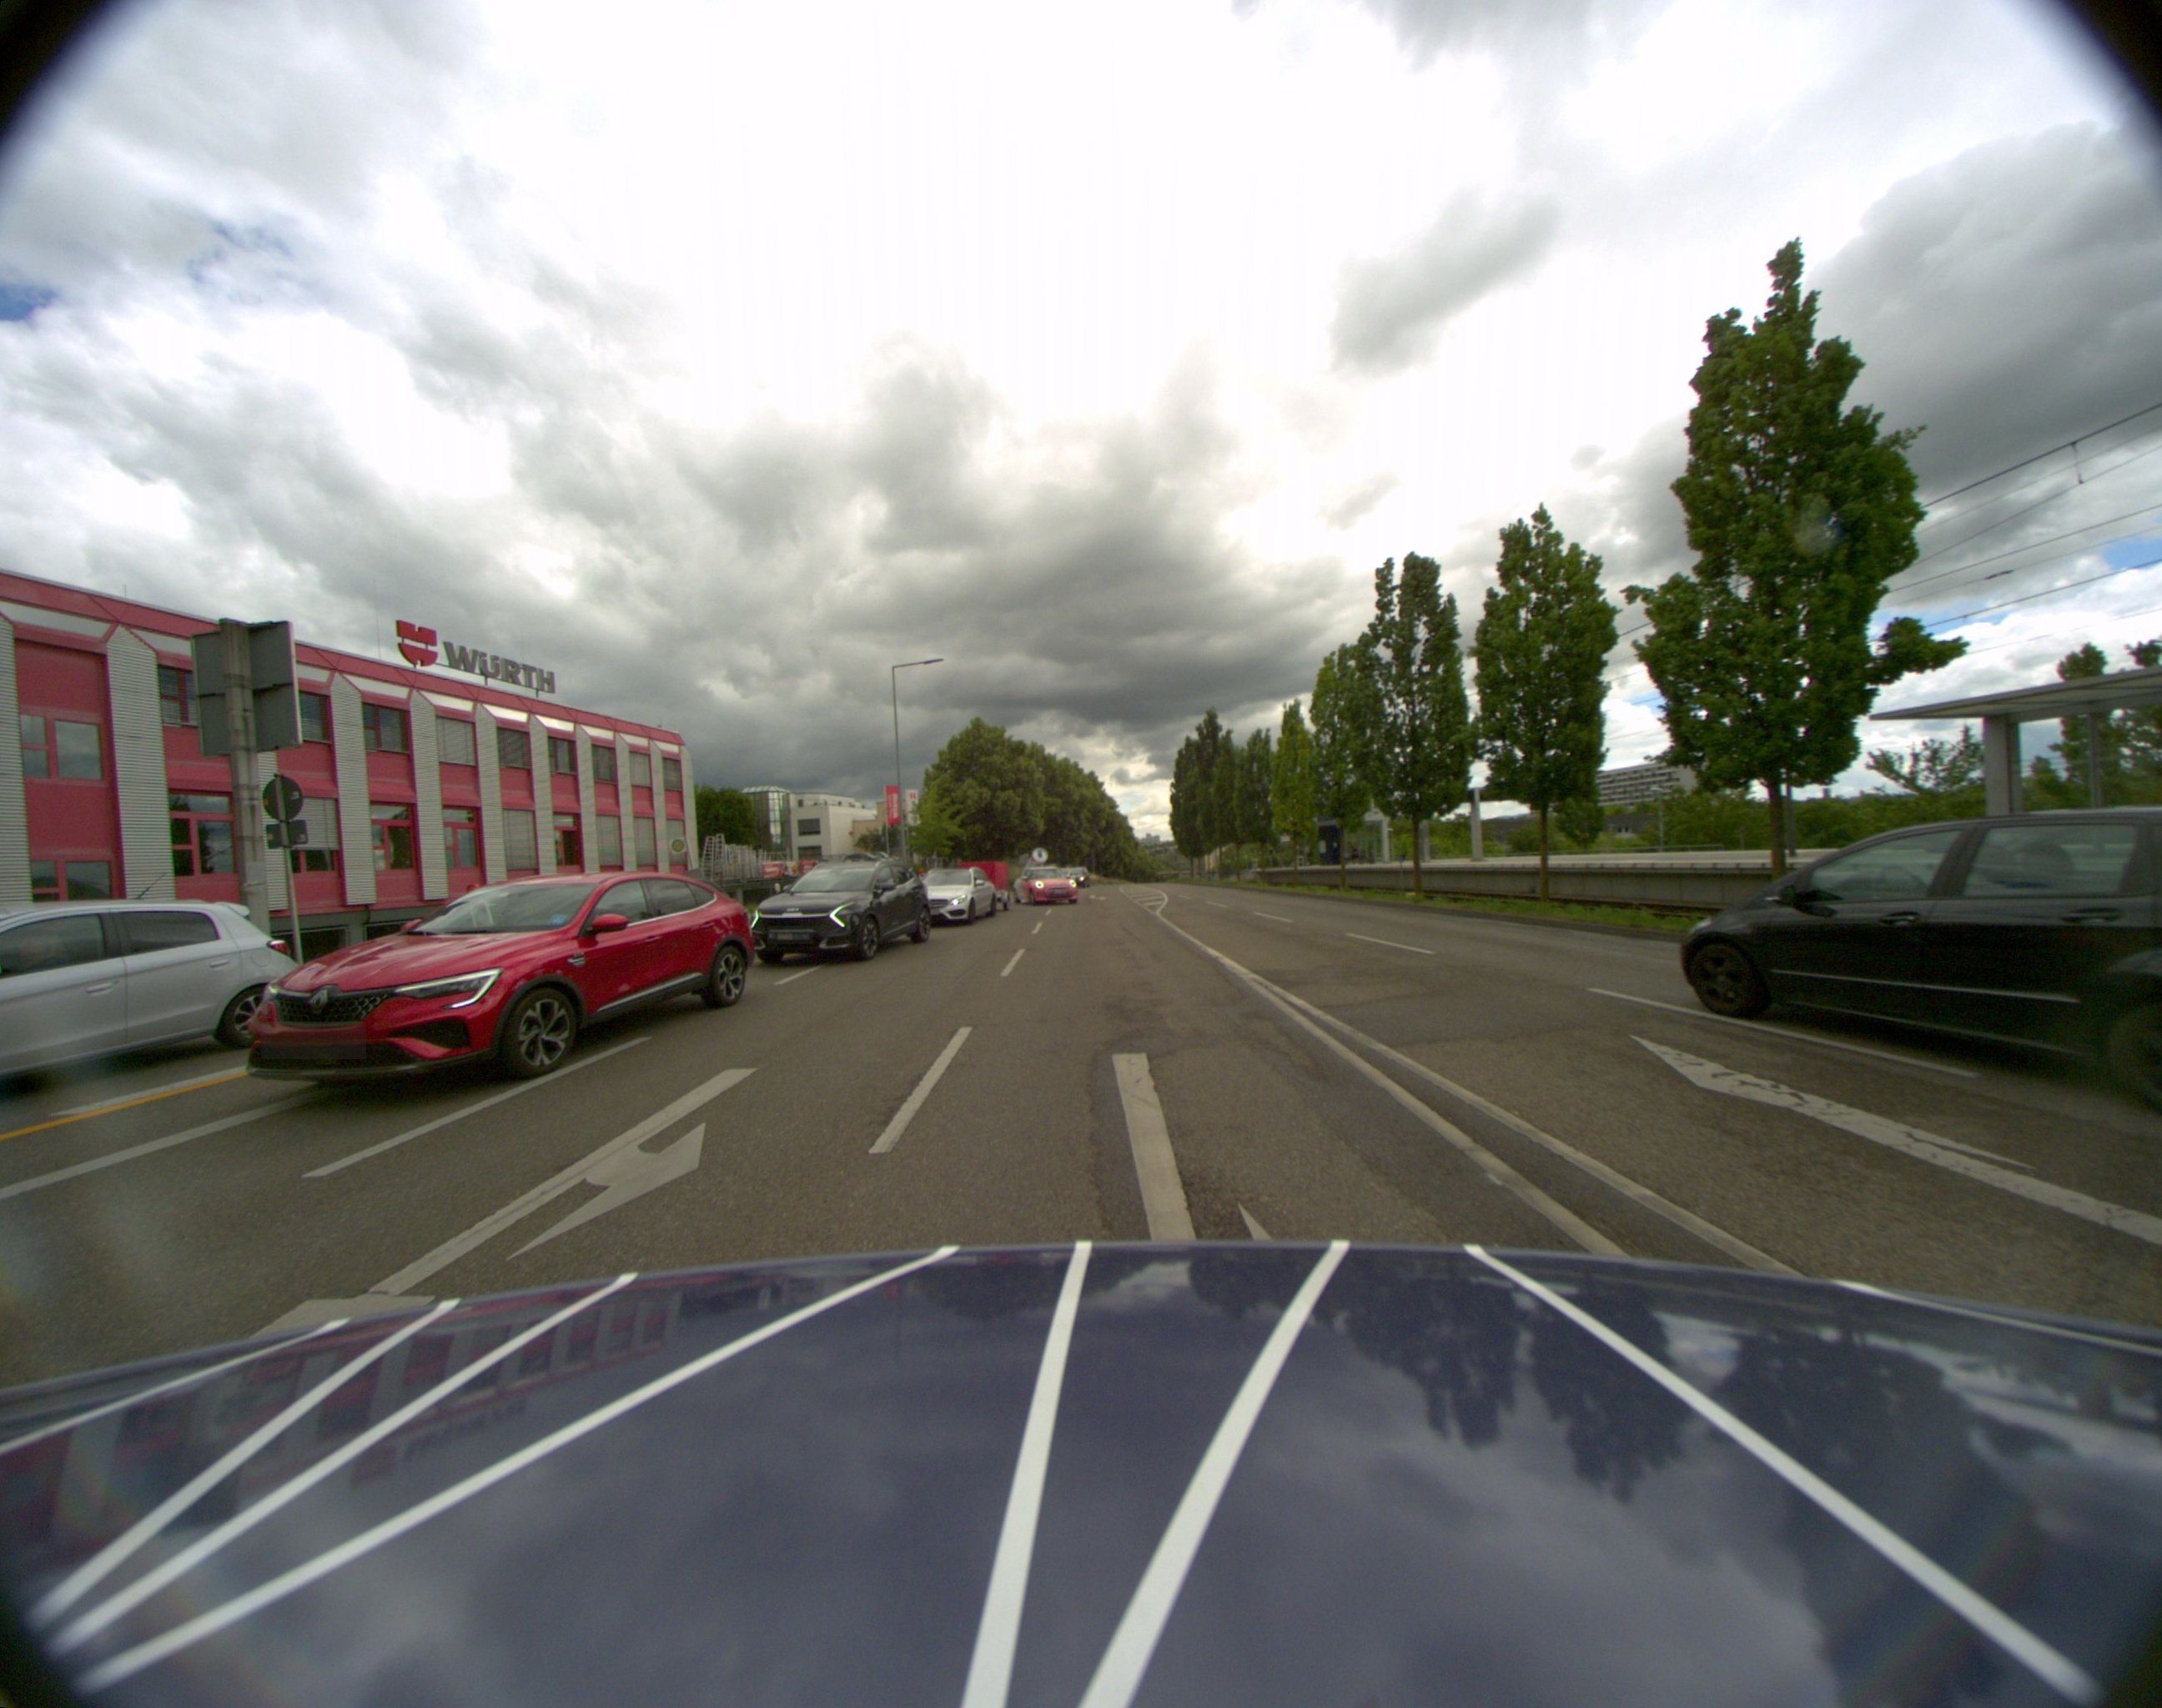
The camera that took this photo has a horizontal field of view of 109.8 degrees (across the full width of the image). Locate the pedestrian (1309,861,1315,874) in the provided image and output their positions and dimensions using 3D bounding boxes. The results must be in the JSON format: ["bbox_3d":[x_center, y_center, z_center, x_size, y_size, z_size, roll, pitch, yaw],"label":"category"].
[{"bbox_3d":[28.097,1.629,92.525,0.508,1.615,0.646,-2,-2,6],"label":"pedestrian"}]

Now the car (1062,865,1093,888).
[{"bbox_3d":[-0.214,1.562,54.287,1.805,1.439,4.002,-2,0,5],"label":"car"}]

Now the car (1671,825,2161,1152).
[{"bbox_3d":[6.057,0.634,4.760,1.730,1.564,3.706,-2,0,-2],"label":"car"}]

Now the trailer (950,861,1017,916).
[{"bbox_3d":[-3.049,1.051,24.373,1.412,1.584,3.305,-2,-1,5],"label":"trailer"}]

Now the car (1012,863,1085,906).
[{"bbox_3d":[-1.313,1.125,28.991,1.725,1.448,3.691,-2,0,-19],"label":"car"}]

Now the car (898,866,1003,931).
[{"bbox_3d":[-3.371,1.116,20.479,1.675,1.439,4.491,-2,0,5],"label":"car"}]

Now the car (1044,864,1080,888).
[{"bbox_3d":[-1.118,1.362,46.236,1.738,1.365,4.003,-2,-2,5],"label":"car"}]

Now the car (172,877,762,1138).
[{"bbox_3d":[-4.882,1.069,7.052,1.711,1.515,4.320,-2,0,4],"label":"car"}]

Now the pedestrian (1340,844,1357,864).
[{"bbox_3d":[16.498,-0.010,46.880,0.763,1.192,0.665,-2,-1,0],"label":"pedestrian"}]

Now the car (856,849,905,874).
[{"bbox_3d":[-17.567,0.674,66.559,3.762,1.946,1.645,-3,-2,10],"label":"car"}]

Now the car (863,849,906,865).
[{"bbox_3d":[-19.850,0.357,76.850,3.762,1.355,1.757,-3,-2,10],"label":"car"}]

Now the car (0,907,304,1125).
[{"bbox_3d":[-8.713,1.291,5.821,1.627,1.448,3.689,-3,0,1],"label":"car"}]

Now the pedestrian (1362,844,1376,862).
[{"bbox_3d":[17.403,-0.076,45.885,0.608,1.072,0.470,-2,-2,0],"label":"pedestrian"}]

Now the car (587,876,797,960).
[{"bbox_3d":[-8.138,1.275,16.441,1.839,1.424,4.281,-2,-1,9],"label":"car"}]

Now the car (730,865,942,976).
[{"bbox_3d":[-4.110,1.036,13.649,1.848,1.552,4.407,-2,0,8],"label":"car"}]
